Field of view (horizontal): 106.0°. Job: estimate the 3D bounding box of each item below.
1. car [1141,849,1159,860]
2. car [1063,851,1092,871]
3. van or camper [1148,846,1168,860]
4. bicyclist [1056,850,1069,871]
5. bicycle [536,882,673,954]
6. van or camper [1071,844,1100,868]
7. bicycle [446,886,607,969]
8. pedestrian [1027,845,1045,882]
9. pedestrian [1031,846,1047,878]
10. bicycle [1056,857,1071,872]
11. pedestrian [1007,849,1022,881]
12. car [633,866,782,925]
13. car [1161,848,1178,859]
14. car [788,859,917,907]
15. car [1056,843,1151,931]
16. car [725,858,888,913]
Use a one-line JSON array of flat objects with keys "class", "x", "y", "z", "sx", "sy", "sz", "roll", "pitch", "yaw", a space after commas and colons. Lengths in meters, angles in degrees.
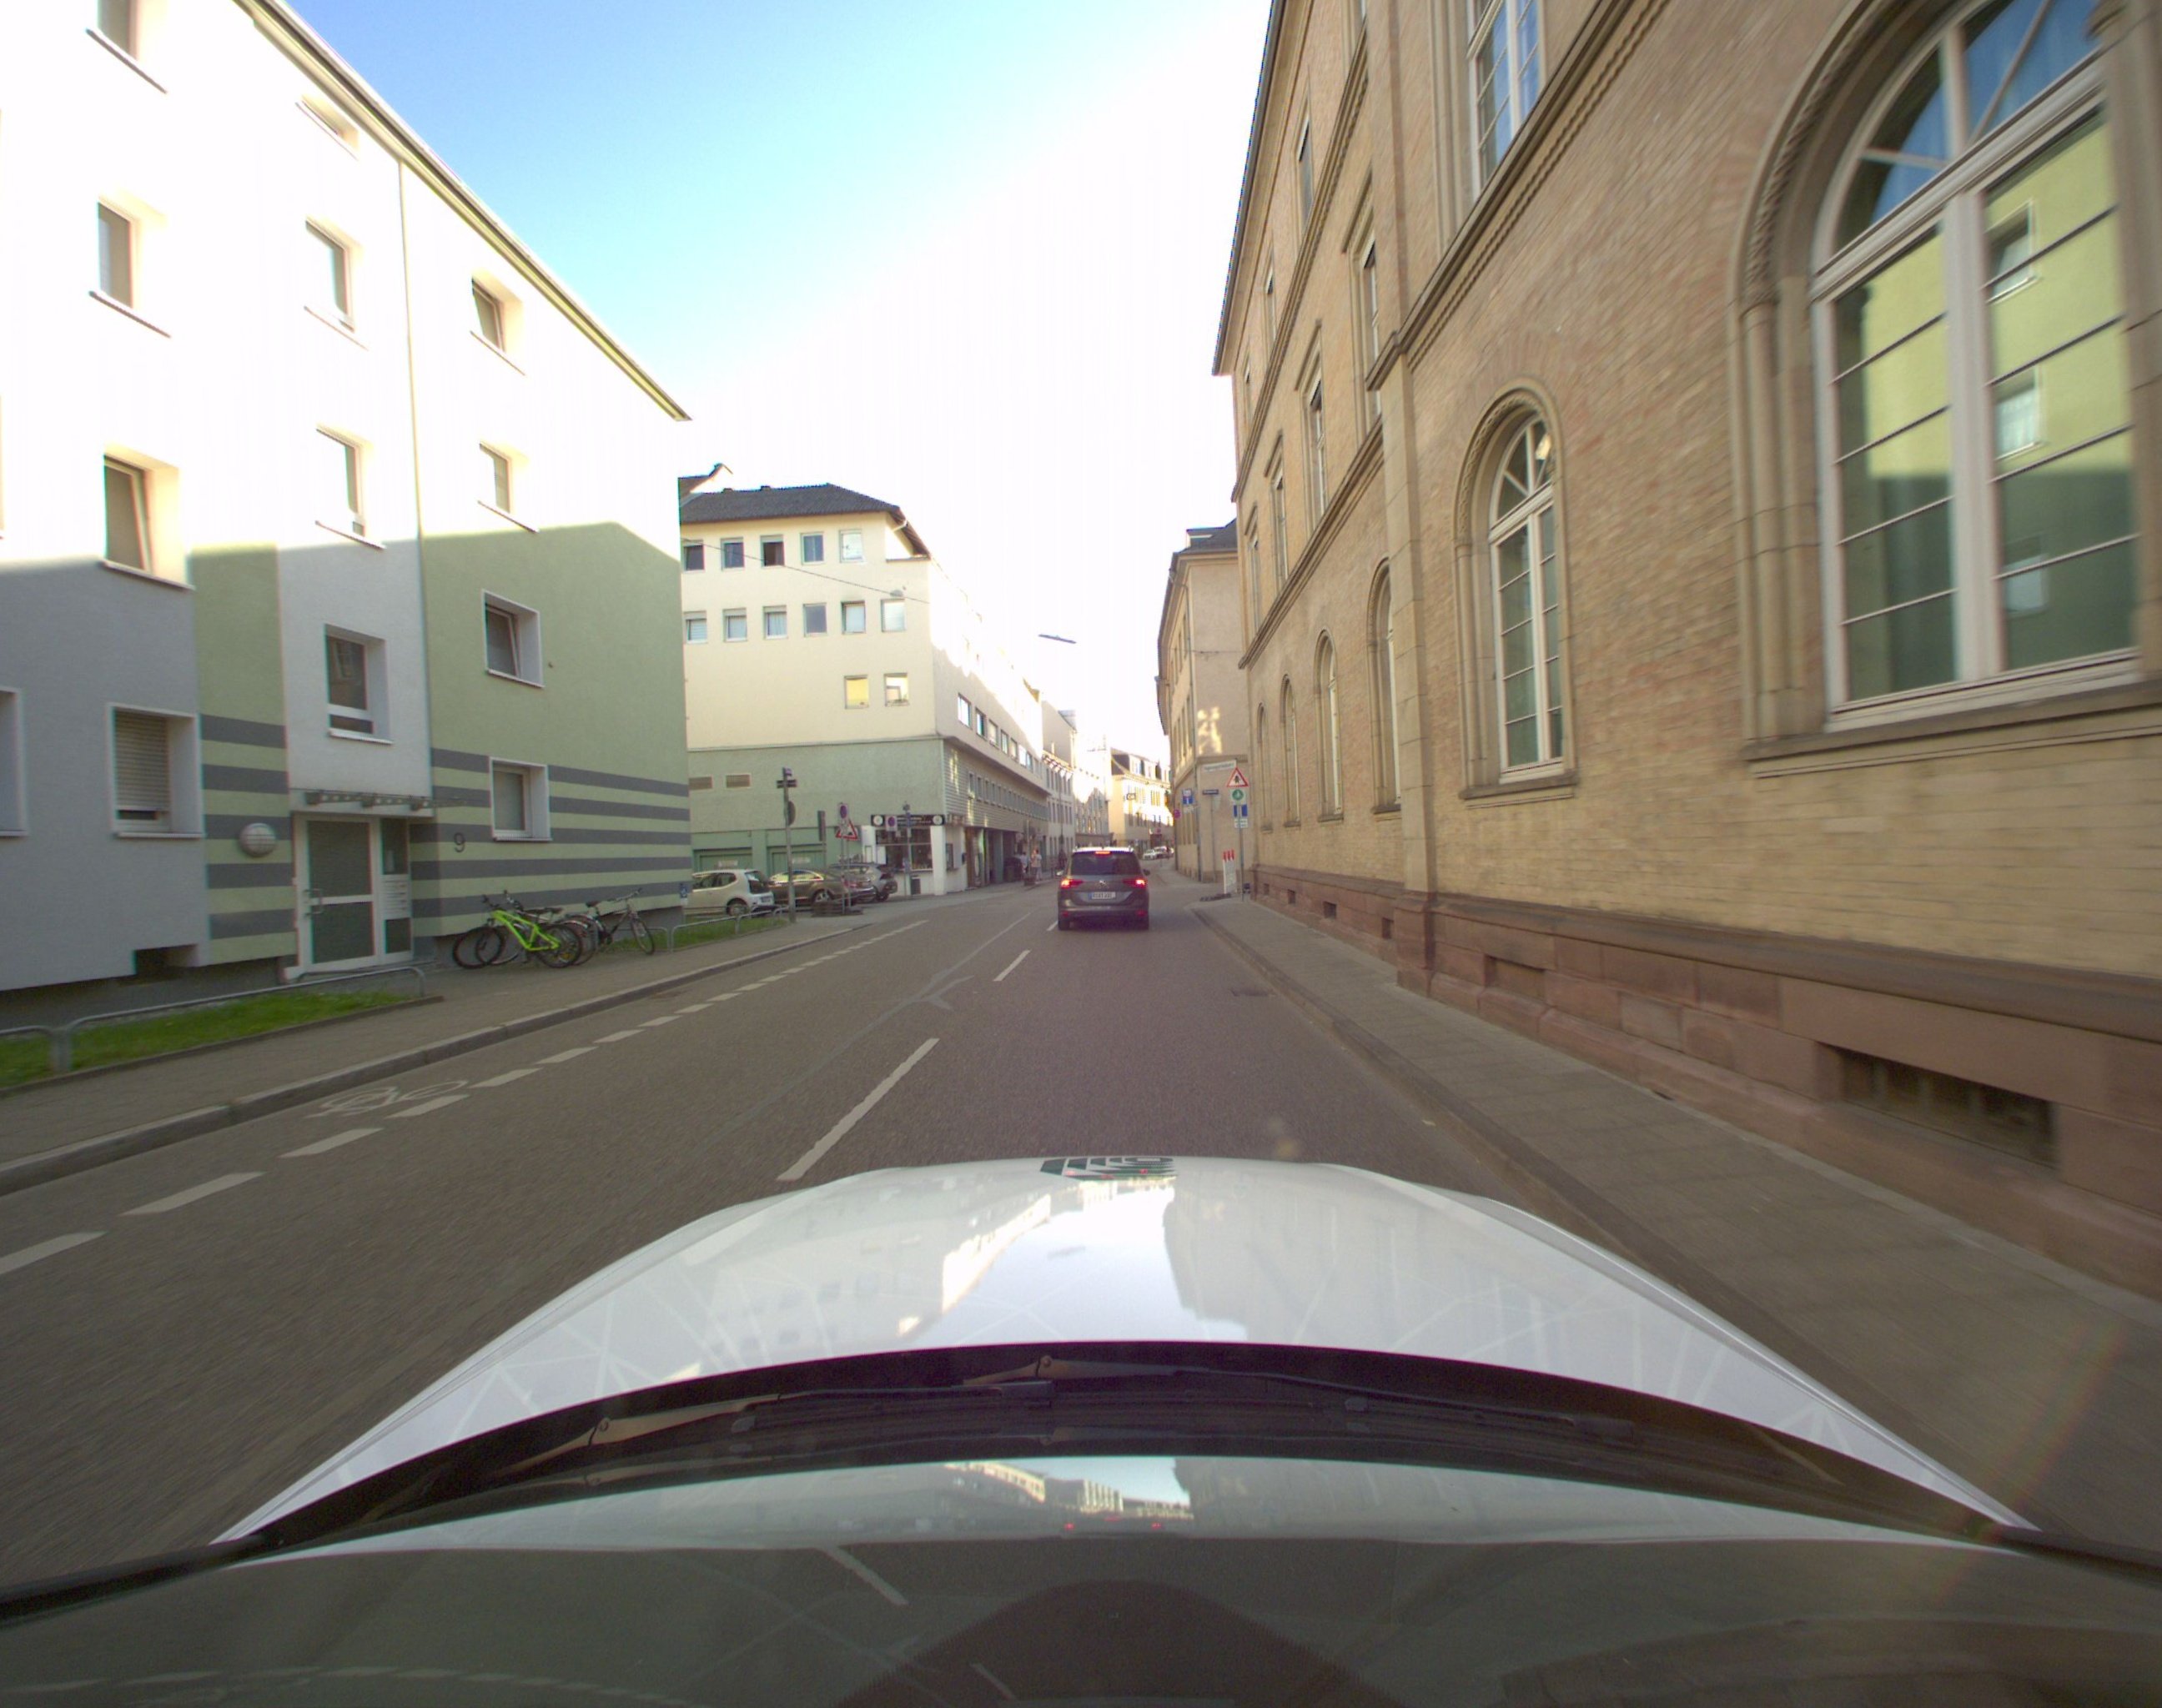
[{"class": "car", "x": 10.158, "y": 0.071, "z": 119.724, "sx": 1.720, "sy": 1.468, "sz": 4.018, "roll": -2, "pitch": 0, "yaw": 16}, {"class": "car", "x": -0.243, "y": 0.550, "z": 67.828, "sx": 1.855, "sy": 1.468, "sz": 3.842, "roll": -2, "pitch": 0, "yaw": 7}, {"class": "van or camper", "x": 11.926, "y": -0.176, "z": 125.407, "sx": 1.977, "sy": 2.013, "sz": 5.022, "roll": -2, "pitch": 0, "yaw": 18}, {"class": "bicyclist", "x": -1.379, "y": 0.507, "z": 62.014, "sx": 0.827, "sy": 1.561, "sz": 0.761, "roll": -2, "pitch": 0, "yaw": 5}, {"class": "bicycle", "x": -8.147, "y": 1.082, "z": 13.983, "sx": 1.927, "sy": 1.179, "sz": 0.612, "roll": 0, "pitch": -1, "yaw": -7}, {"class": "van or camper", "x": 0.446, "y": 0.148, "z": 73.546, "sx": 1.982, "sy": 2.013, "sz": 4.493, "roll": -2, "pitch": 0, "yaw": 8}, {"class": "bicycle", "x": -8.478, "y": 1.100, "z": 12.521, "sx": 1.931, "sy": 1.179, "sz": 0.610, "roll": 0, "pitch": -1, "yaw": -14}, {"class": "pedestrian", "x": -2.274, "y": 0.493, "z": 41.344, "sx": 0.550, "sy": 1.829, "sz": 0.735, "roll": -2, "pitch": 0, "yaw": 26}, {"class": "pedestrian", "x": -2.408, "y": 0.462, "z": 46.720, "sx": 0.550, "sy": 1.829, "sz": 0.735, "roll": -2, "pitch": 0, "yaw": 26}, {"class": "bicycle", "x": -1.350, "y": 0.779, "z": 62.164, "sx": 0.827, "sy": 1.054, "sz": 2.553, "roll": -2, "pitch": 0, "yaw": 6}, {"class": "pedestrian", "x": -3.877, "y": 0.628, "z": 47.556, "sx": 0.725, "sy": 1.829, "sz": 0.557, "roll": -2, "pitch": 0, "yaw": 2}, {"class": "car", "x": -11.020, "y": 1.206, "z": 24.193, "sx": 3.485, "sy": 1.442, "sz": 1.815, "roll": -3, "pitch": 0, "yaw": 3}, {"class": "car", "x": 14.335, "y": -0.109, "z": 131.627, "sx": 1.811, "sy": 1.726, "sz": 4.020, "roll": -2, "pitch": 0, "yaw": 19}, {"class": "car", "x": -8.347, "y": 1.049, "z": 29.988, "sx": 4.080, "sy": 1.442, "sz": 1.950, "roll": -3, "pitch": 1, "yaw": 3}, {"class": "car", "x": 0.485, "y": 0.602, "z": 17.021, "sx": 1.755, "sy": 1.607, "sz": 4.002, "roll": 0, "pitch": 0, "yaw": 2}, {"class": "car", "x": -8.943, "y": 1.012, "z": 26.729, "sx": 4.586, "sy": 1.541, "sz": 2.005, "roll": -3, "pitch": 0, "yaw": 9}]
